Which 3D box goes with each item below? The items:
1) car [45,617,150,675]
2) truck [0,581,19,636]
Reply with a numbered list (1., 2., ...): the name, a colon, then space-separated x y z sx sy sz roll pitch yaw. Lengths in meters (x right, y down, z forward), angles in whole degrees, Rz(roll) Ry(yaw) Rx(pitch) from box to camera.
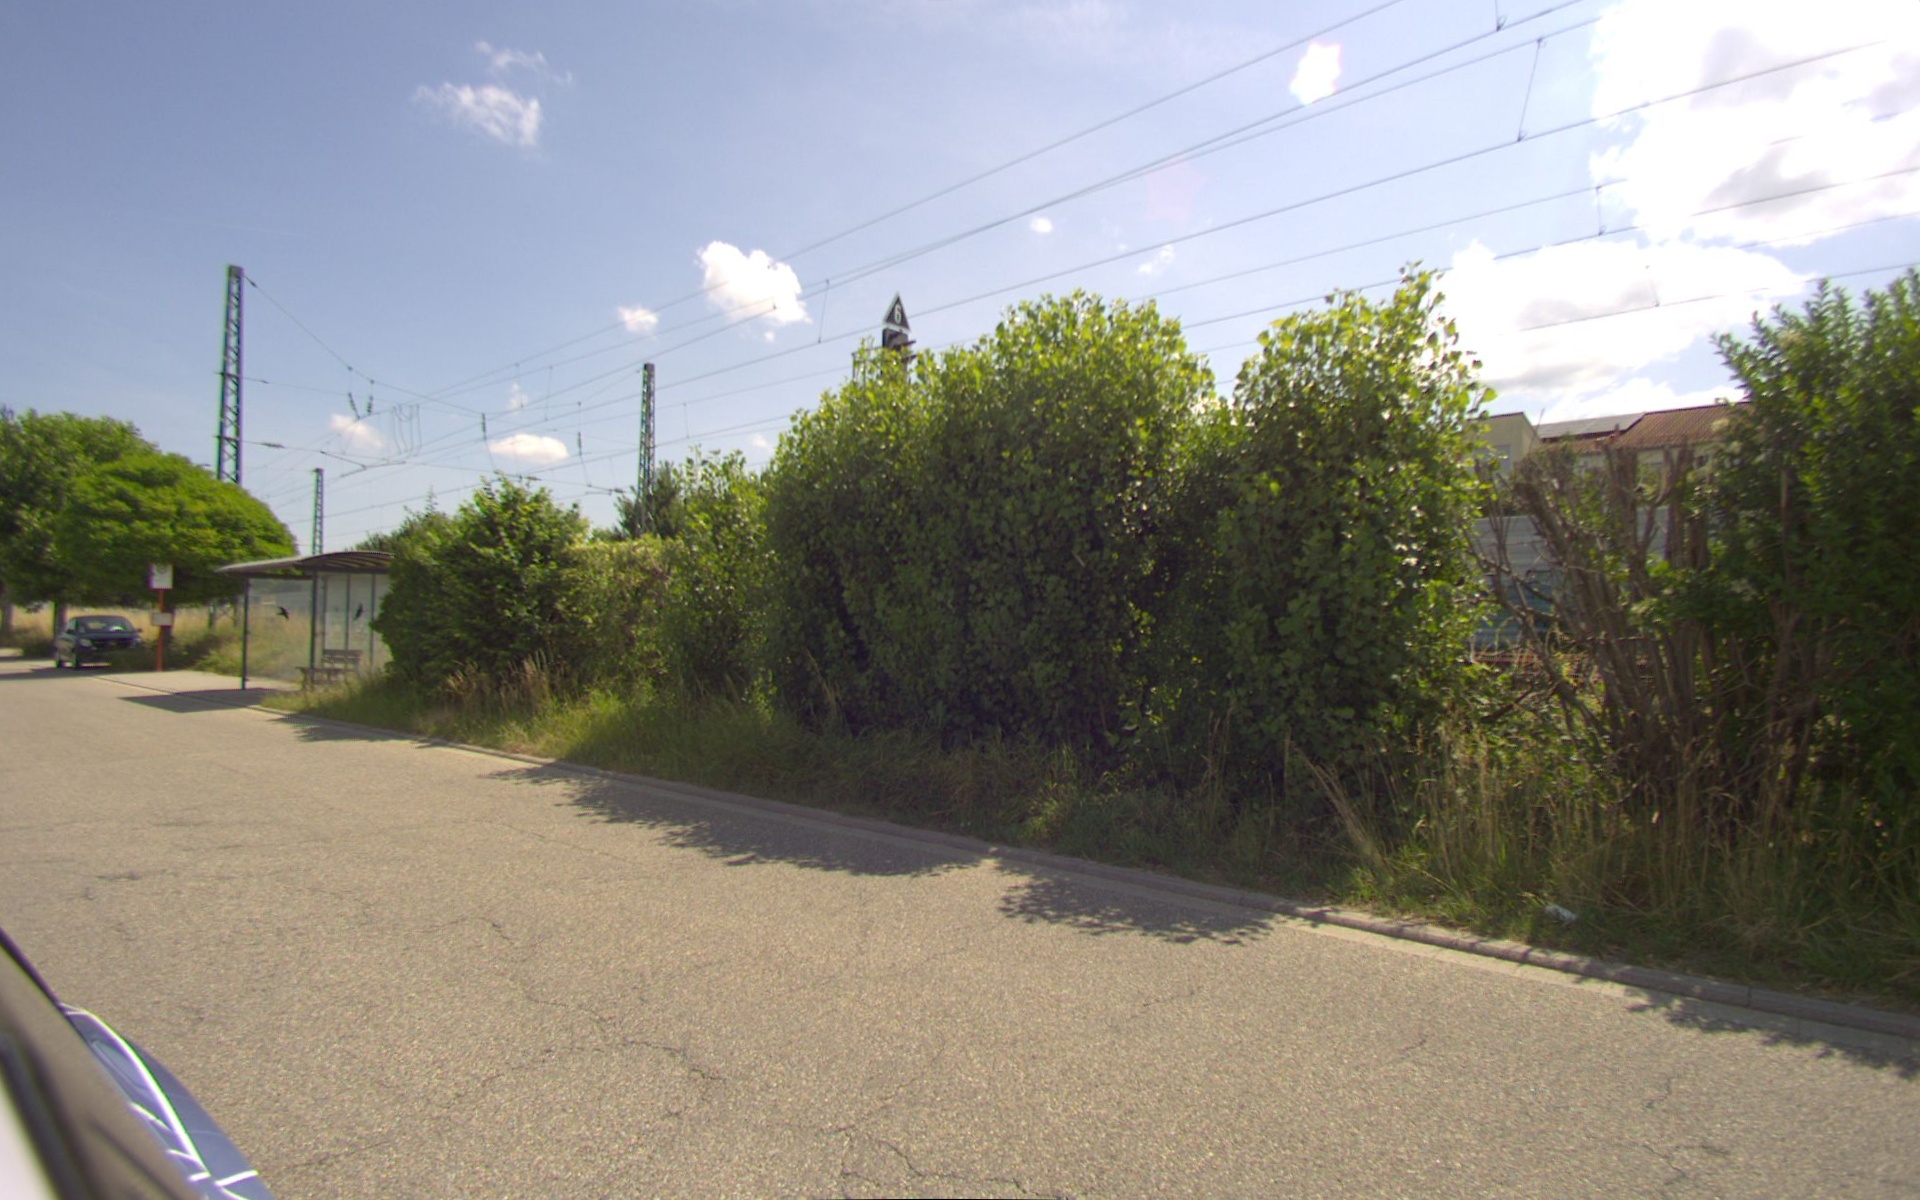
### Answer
1. car: -25.598 1.326 30.009 3.575 1.608 1.724 -1 -2 39
2. truck: -69.606 0.565 69.701 2.659 3.852 6.554 -1 -2 36
